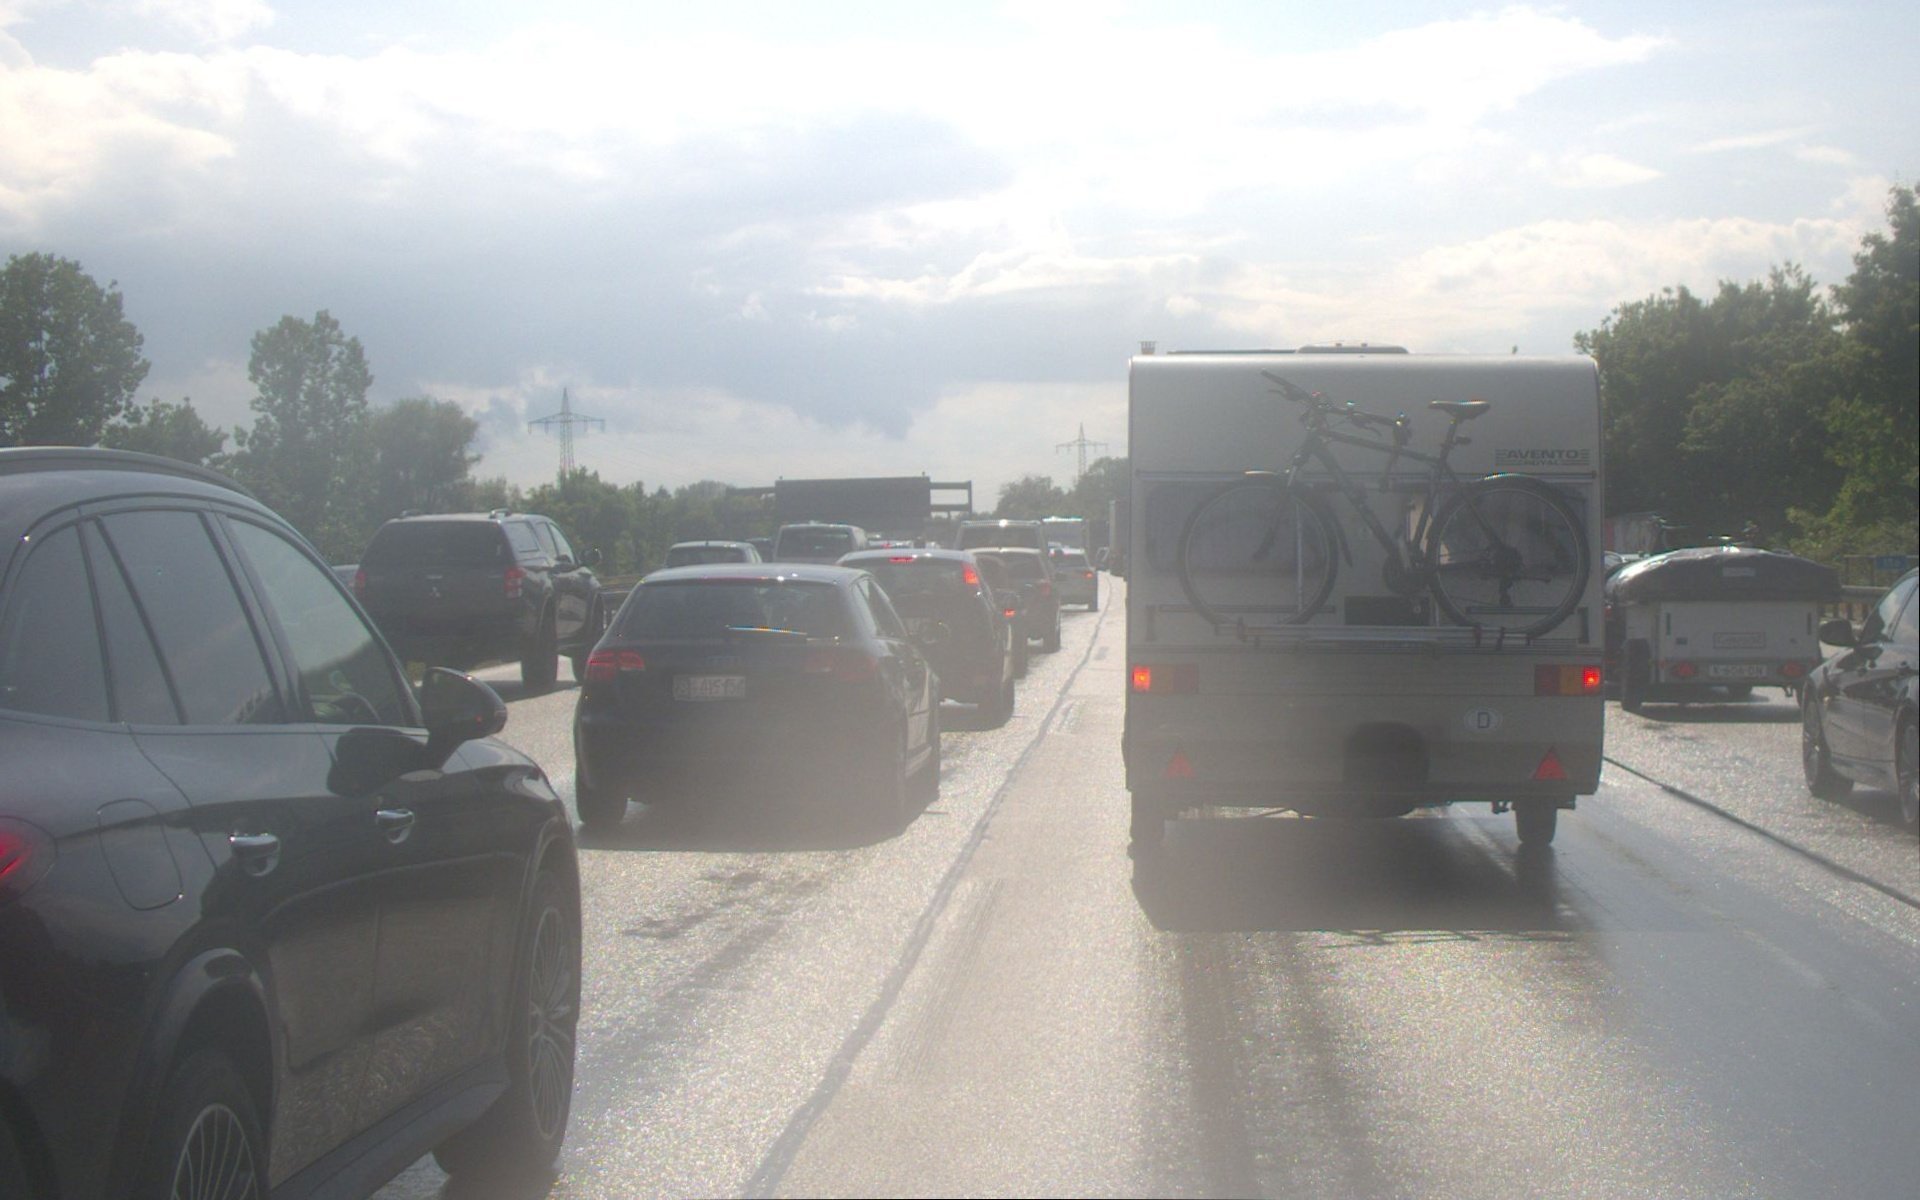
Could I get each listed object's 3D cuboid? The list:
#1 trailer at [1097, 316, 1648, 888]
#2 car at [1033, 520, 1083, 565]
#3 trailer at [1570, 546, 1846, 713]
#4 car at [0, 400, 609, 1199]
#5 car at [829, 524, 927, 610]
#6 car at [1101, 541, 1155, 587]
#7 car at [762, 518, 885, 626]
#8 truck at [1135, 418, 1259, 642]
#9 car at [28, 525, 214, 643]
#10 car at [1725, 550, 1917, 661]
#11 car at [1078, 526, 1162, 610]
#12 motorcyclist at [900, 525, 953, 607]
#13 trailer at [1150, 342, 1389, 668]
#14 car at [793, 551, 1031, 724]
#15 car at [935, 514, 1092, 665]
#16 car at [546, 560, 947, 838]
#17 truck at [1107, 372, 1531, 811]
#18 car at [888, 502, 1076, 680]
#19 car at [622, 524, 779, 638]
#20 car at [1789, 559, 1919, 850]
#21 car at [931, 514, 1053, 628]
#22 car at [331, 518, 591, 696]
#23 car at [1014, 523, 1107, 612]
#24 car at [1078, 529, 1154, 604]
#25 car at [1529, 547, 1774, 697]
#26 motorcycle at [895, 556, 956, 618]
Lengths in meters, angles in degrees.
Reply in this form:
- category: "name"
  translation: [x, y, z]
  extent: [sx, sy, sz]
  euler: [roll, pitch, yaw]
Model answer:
- category: "trailer"
  translation: [1.963, -0.034, 18.312]
  extent: [2.374, 2.475, 6.522]
  euler: [1, 1, 3]
- category: "car"
  translation: [3.908, -2.295, 137.633]
  extent: [1.876, 1.754, 4.000]
  euler: [1, 1, 0]
- category: "trailer"
  translation: [6.856, 0.226, 31.909]
  extent: [1.855, 1.437, 4.147]
  euler: [0, 1, 3]
- category: "car"
  translation: [-2.011, 0.561, 6.365]
  extent: [1.994, 1.656, 4.405]
  euler: [0, 1, 4]
- category: "car"
  translation: [-1.972, -0.813, 83.770]
  extent: [1.994, 2.007, 4.000]
  euler: [1, 1, 4]
- category: "car"
  translation: [6.518, -1.390, 133.511]
  extent: [1.876, 1.754, 4.000]
  euler: [1, 1, 0]
- category: "car"
  translation: [-2.754, -0.587, 70.132]
  extent: [1.994, 2.007, 4.000]
  euler: [4, 1, 4]
- category: "truck"
  translation: [5.318, -1.561, 78.220]
  extent: [2.502, 4.813, 7.543]
  euler: [1, 1, 2]
- category: "car"
  translation: [-14.847, -0.311, 61.089]
  extent: [1.994, 2.007, 4.653]
  euler: [0, 1, 2]
- category: "car"
  translation: [11.494, 0.038, 46.148]
  extent: [1.771, 1.397, 4.289]
  euler: [0, 1, 4]
- category: "car"
  translation: [4.065, -0.822, 87.039]
  extent: [1.994, 2.007, 4.000]
  euler: [2, 1, 4]
- category: "motorcyclist"
  translation: [-0.700, -0.718, 72.059]
  extent: [1.064, 1.712, 0.785]
  euler: [0, 1, 4]
- category: "trailer"
  translation: [4.335, -1.282, 48.231]
  extent: [3.007, 4.152, 8.534]
  euler: [0, 1, 5]
- category: "car"
  translation: [-0.357, 0.288, 30.323]
  extent: [1.806, 1.402, 4.000]
  euler: [1, 1, 3]
- category: "car"
  translation: [0.831, -0.185, 50.403]
  extent: [1.994, 2.007, 4.000]
  euler: [4, 1, 4]
- category: "car"
  translation: [-1.093, 0.480, 19.436]
  extent: [1.757, 1.382, 3.944]
  euler: [0, 1, 4]
- category: "truck"
  translation: [2.182, -0.086, 22.440]
  extent: [2.374, 2.468, 5.755]
  euler: [1, 1, 3]
- category: "car"
  translation: [0.315, -0.135, 41.209]
  extent: [1.994, 2.007, 4.000]
  euler: [1, 1, 4]
- category: "car"
  translation: [-4.209, -0.325, 56.351]
  extent: [1.994, 1.766, 4.000]
  euler: [1, 1, 4]
- category: "car"
  translation: [5.681, 0.498, 18.401]
  extent: [1.740, 1.415, 3.835]
  euler: [0, 1, 3]
- category: "car"
  translation: [0.635, -0.553, 64.292]
  extent: [1.994, 2.007, 4.000]
  euler: [2, 1, 4]
- category: "car"
  translation: [-5.093, 0.046, 35.609]
  extent: [1.993, 1.714, 4.000]
  euler: [1, 1, 2]
- category: "car"
  translation: [2.362, -0.768, 80.074]
  extent: [1.994, 2.007, 4.000]
  euler: [1, 1, 4]
- category: "car"
  translation: [4.524, -0.982, 99.159]
  extent: [1.994, 2.007, 4.000]
  euler: [4, 1, 4]
- category: "car"
  translation: [7.024, 0.183, 35.300]
  extent: [1.855, 1.437, 4.258]
  euler: [0, 1, 3]
- category: "motorcycle"
  translation: [-0.705, -0.277, 71.962]
  extent: [1.074, 1.267, 2.690]
  euler: [0, 1, 4]
